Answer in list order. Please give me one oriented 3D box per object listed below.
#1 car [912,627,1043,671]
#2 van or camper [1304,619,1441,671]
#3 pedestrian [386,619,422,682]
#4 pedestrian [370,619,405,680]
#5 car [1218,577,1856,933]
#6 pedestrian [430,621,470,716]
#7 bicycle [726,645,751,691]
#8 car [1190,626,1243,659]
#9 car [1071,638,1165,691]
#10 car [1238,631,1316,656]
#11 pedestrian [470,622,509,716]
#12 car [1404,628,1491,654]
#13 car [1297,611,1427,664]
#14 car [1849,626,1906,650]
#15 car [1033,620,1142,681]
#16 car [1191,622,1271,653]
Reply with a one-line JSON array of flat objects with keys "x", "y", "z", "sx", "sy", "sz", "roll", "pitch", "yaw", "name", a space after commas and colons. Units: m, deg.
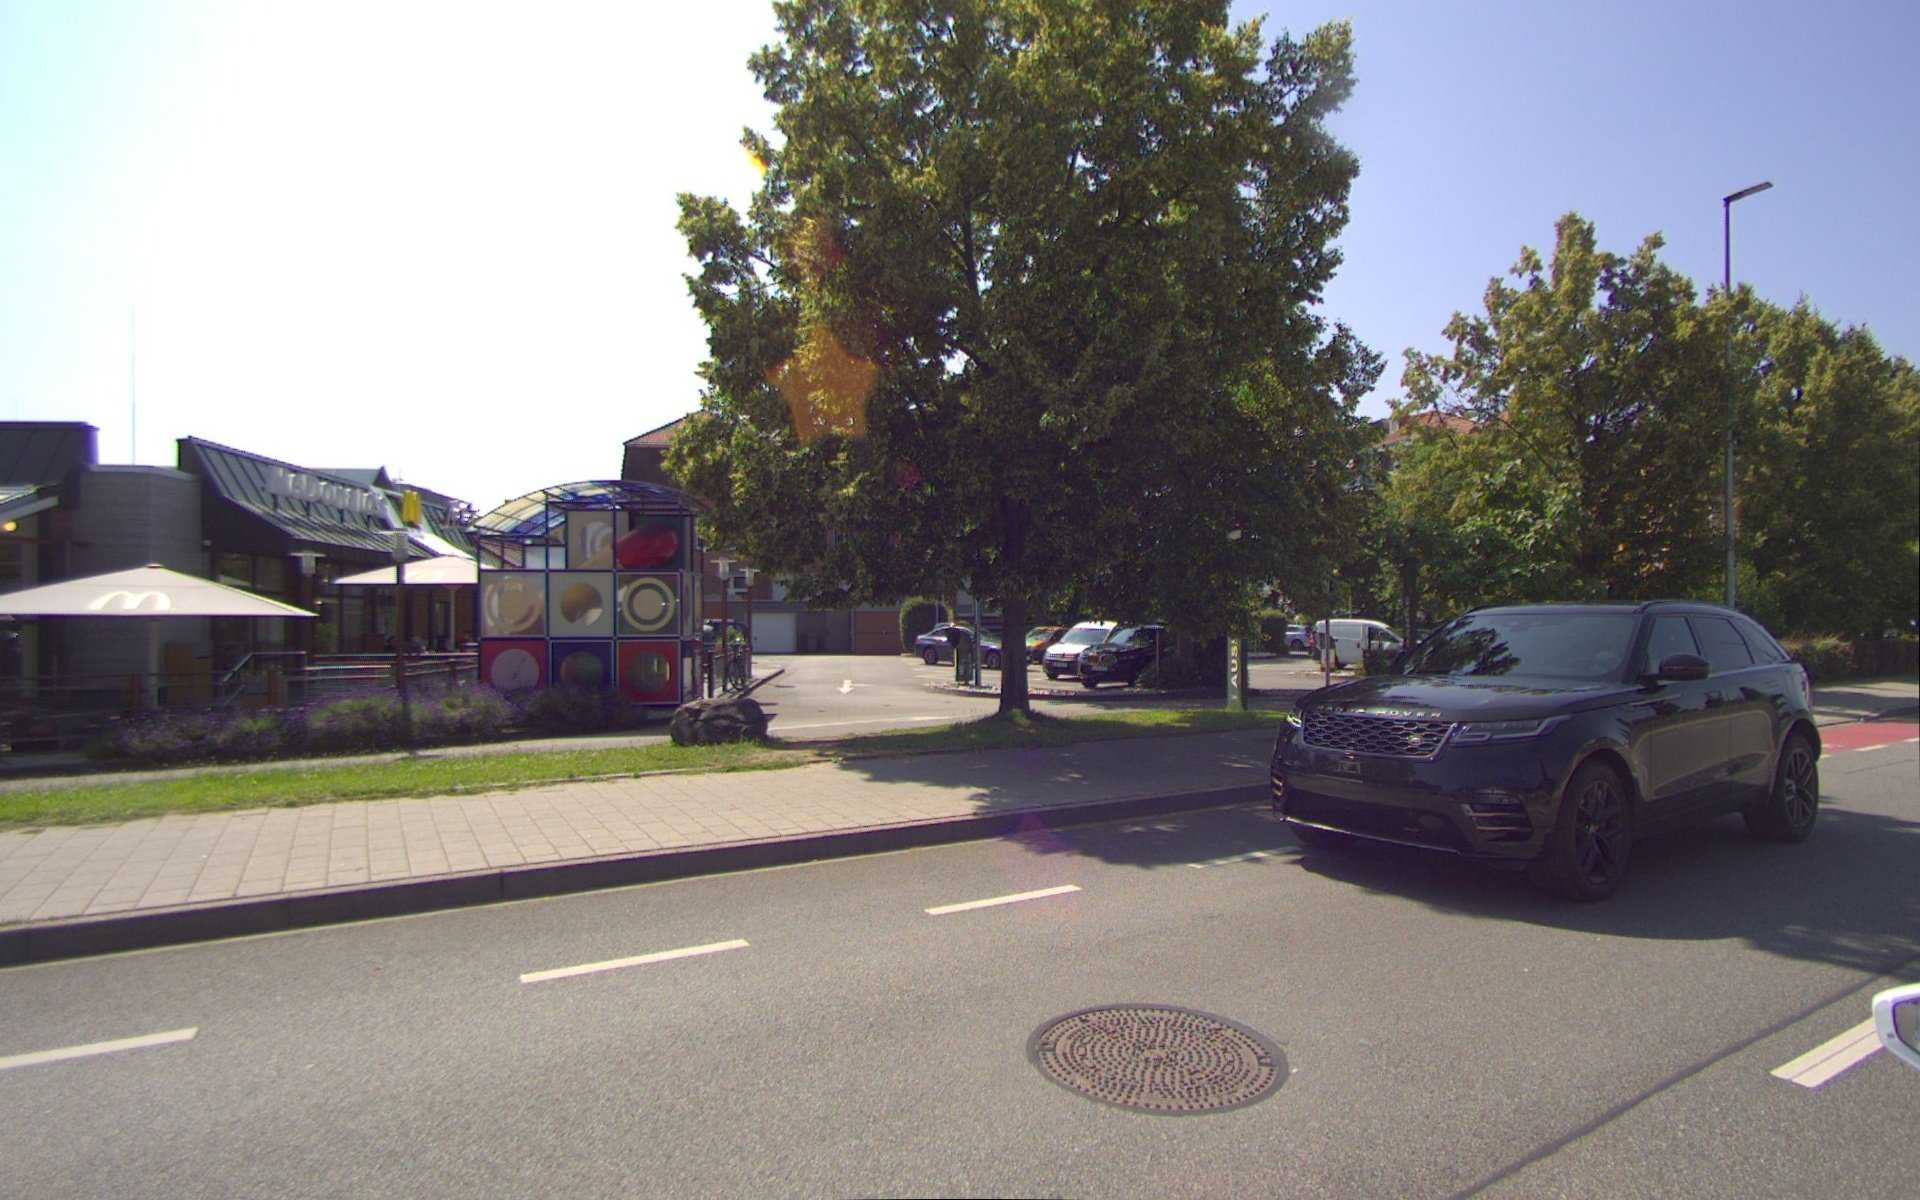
[{"x": 0.606, "y": 1.714, "z": 36.005, "sx": 4.318, "sy": 1.458, "sz": 1.995, "roll": -1, "pitch": -2, "yaw": 33, "name": "car"}, {"x": 14.980, "y": 1.598, "z": 36.573, "sx": 4.220, "sy": 1.763, "sz": 1.991, "roll": -1, "pitch": -2, "yaw": 40, "name": "van or camper"}, {"x": -13.476, "y": 1.203, "z": 24.350, "sx": 0.744, "sy": 1.493, "sz": 0.829, "roll": 0, "pitch": -1, "yaw": -29, "name": "pedestrian"}, {"x": -14.280, "y": 1.214, "z": 25.058, "sx": 0.744, "sy": 1.493, "sz": 0.829, "roll": 0, "pitch": -1, "yaw": -29, "name": "pedestrian"}, {"x": 4.108, "y": 0.793, "z": 6.931, "sx": 4.562, "sy": 1.717, "sz": 1.939, "roll": 1, "pitch": -2, "yaw": -33, "name": "car"}, {"x": -11.337, "y": 1.500, "z": 22.323, "sx": 0.744, "sy": 2.040, "sz": 0.829, "roll": 0, "pitch": -1, "yaw": -29, "name": "pedestrian"}, {"x": -5.225, "y": 1.577, "z": 23.735, "sx": 0.302, "sy": 1.005, "sz": 1.857, "roll": 0, "pitch": -1, "yaw": -4, "name": "bicycle"}, {"x": 12.415, "y": 2.042, "z": 48.845, "sx": 1.473, "sy": 1.546, "sz": 3.432, "roll": 0, "pitch": -1, "yaw": -4, "name": "car"}, {"x": 4.519, "y": 1.756, "z": 28.231, "sx": 1.578, "sy": 1.303, "sz": 3.997, "roll": -1, "pitch": -2, "yaw": 25, "name": "car"}, {"x": 17.863, "y": 2.453, "z": 56.677, "sx": 3.933, "sy": 1.356, "sz": 1.581, "roll": -1, "pitch": -2, "yaw": 34, "name": "car"}, {"x": -10.571, "y": 1.524, "z": 22.562, "sx": 0.744, "sy": 2.040, "sz": 0.829, "roll": 0, "pitch": -1, "yaw": -29, "name": "pedestrian"}, {"x": 28.379, "y": 2.355, "z": 58.481, "sx": 4.220, "sy": 1.457, "sz": 1.991, "roll": -1, "pitch": -2, "yaw": 40, "name": "car"}, {"x": 16.599, "y": 1.534, "z": 41.583, "sx": 4.668, "sy": 2.040, "sz": 2.079, "roll": -1, "pitch": -2, "yaw": 34, "name": "car"}, {"x": 77.545, "y": 3.174, "z": 84.936, "sx": 1.960, "sy": 1.929, "sz": 4.002, "roll": 0, "pitch": -1, "yaw": 16, "name": "car"}, {"x": 4.059, "y": 1.523, "z": 31.451, "sx": 1.689, "sy": 1.758, "sz": 4.236, "roll": -1, "pitch": -2, "yaw": 34, "name": "car"}, {"x": 14.962, "y": 2.063, "z": 55.644, "sx": 1.787, "sy": 1.619, "sz": 3.947, "roll": 1, "pitch": -2, "yaw": -45, "name": "car"}]
